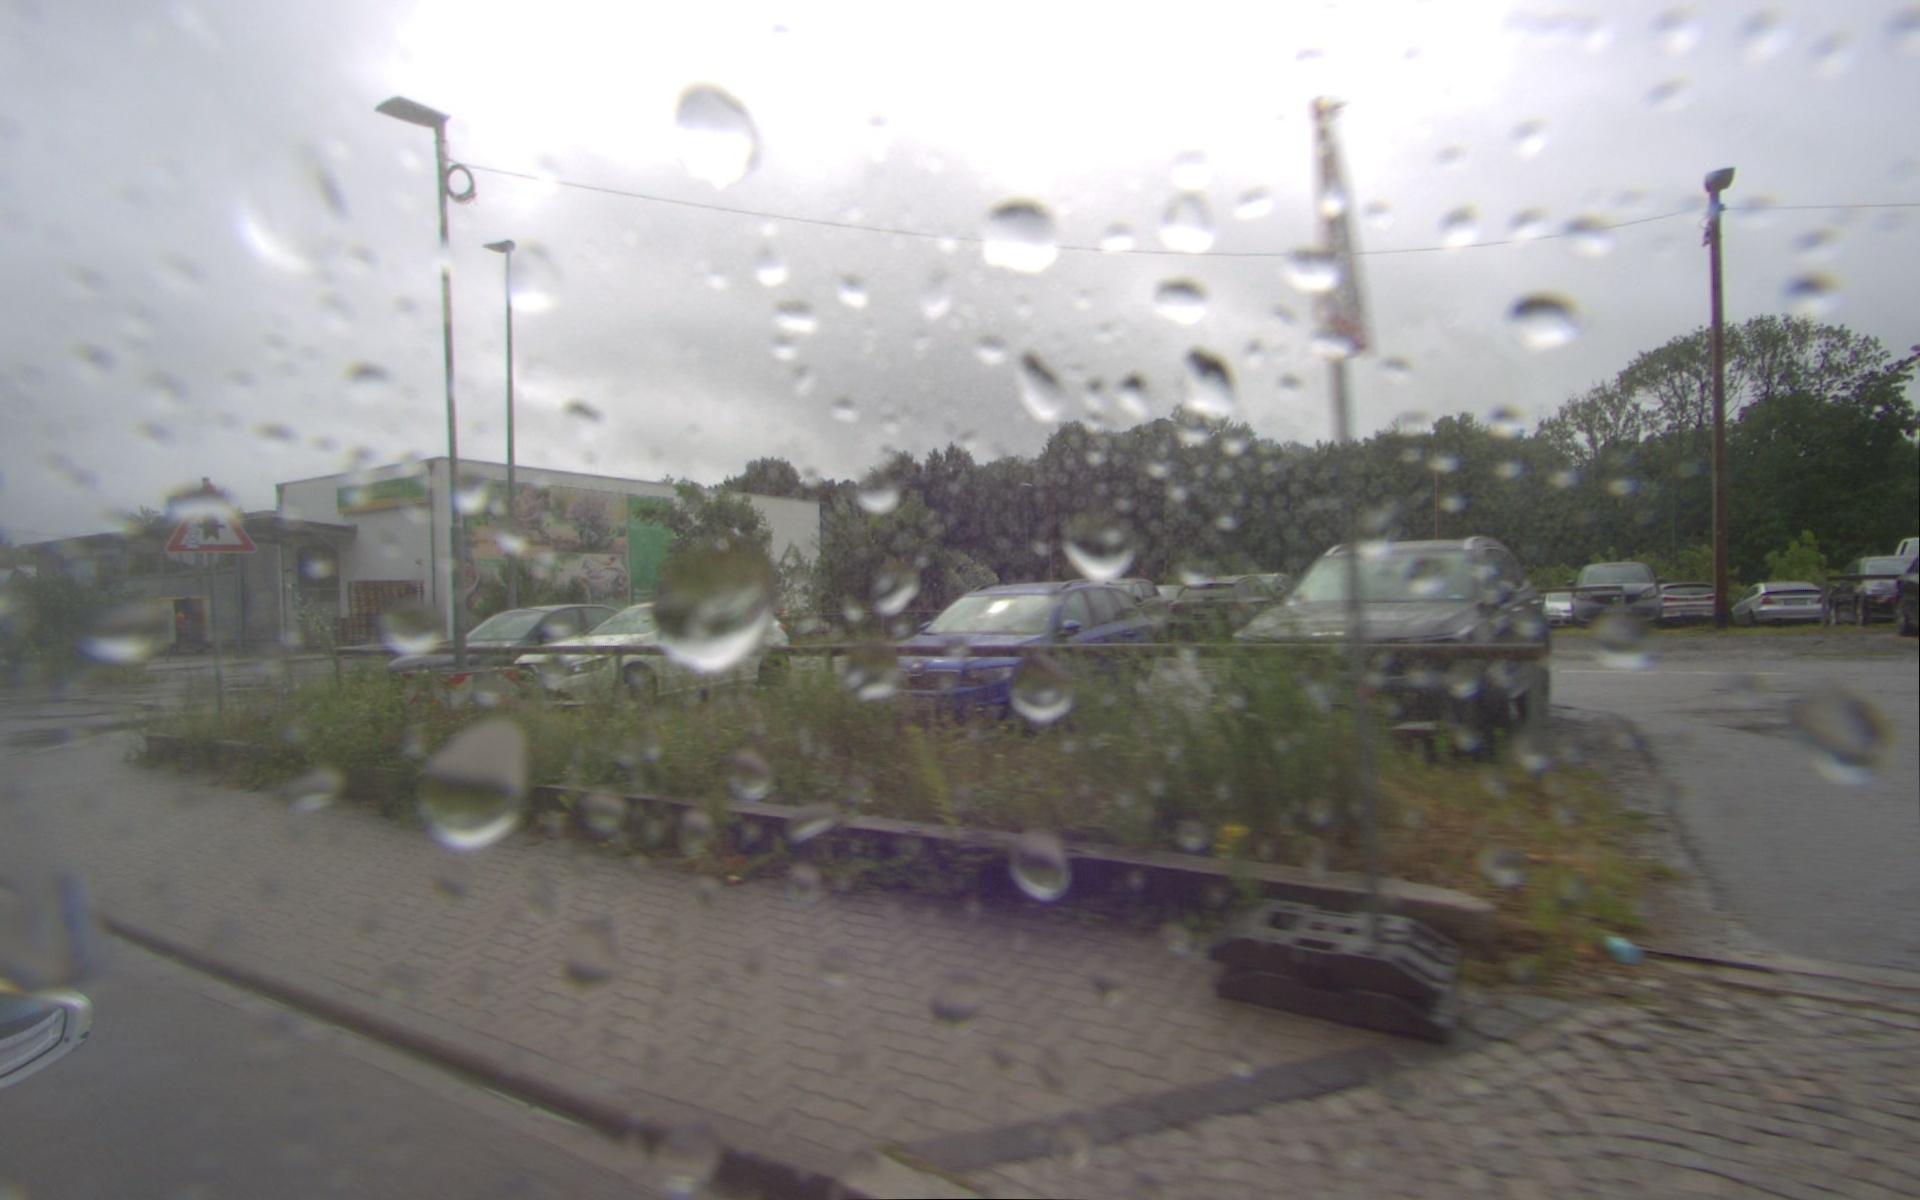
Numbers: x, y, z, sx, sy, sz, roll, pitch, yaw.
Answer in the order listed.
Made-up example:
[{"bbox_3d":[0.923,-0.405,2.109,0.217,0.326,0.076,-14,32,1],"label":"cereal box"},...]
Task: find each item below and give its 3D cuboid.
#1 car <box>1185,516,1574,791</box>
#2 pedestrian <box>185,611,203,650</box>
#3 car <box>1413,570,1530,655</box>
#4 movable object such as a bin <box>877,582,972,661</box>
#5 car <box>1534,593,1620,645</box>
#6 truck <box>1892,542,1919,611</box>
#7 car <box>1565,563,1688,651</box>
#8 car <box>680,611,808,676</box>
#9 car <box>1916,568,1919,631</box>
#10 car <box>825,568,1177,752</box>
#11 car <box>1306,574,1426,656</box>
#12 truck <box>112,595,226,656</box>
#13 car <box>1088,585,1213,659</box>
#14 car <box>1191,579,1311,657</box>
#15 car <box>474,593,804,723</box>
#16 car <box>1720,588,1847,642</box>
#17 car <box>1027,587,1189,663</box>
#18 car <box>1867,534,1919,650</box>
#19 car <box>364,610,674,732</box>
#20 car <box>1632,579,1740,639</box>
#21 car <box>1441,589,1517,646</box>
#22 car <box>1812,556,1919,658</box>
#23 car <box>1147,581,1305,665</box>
[{"bbox_3d":[3.978,0.347,8.915,2.101,1.757,4.664,-3,-1,36],"label":"car"},{"bbox_3d":[-35.120,1.399,45.905,0.427,1.741,0.453,-1,2,35],"label":"pedestrian"},{"bbox_3d":[11.852,0.225,23.035,2.015,1.626,4.430,-4,1,31],"label":"car"},{"bbox_3d":[-1.403,0.864,40.949,1.971,3.032,3.980,-1,-1,31],"label":"movable object such as a bin"},{"bbox_3d":[19.347,0.556,31.542,1.685,1.513,3.988,-2,0,23],"label":"car"},{"bbox_3d":[36.142,-0.917,34.872,5.012,2.434,2.067,-2,0,32],"label":"truck"},{"bbox_3d":[14.717,0.096,22.340,2.015,1.626,4.430,-4,1,31],"label":"car"},{"bbox_3d":[-6.892,1.345,32.328,1.805,1.947,3.980,-1,0,31],"label":"car"},{"bbox_3d":[27.615,-0.029,26.696,1.761,1.792,3.988,-2,0,23],"label":"car"},{"bbox_3d":[0.668,0.564,10.636,1.795,1.536,4.287,-3,-2,32],"label":"car"},{"bbox_3d":[10.174,0.311,24.889,2.015,1.694,4.430,-4,1,31],"label":"car"},{"bbox_3d":[-38.205,1.250,48.267,7.318,2.695,2.293,-2,1,36],"label":"truck"},{"bbox_3d":[5.343,0.552,27.567,2.014,1.694,4.433,-4,1,29],"label":"car"},{"bbox_3d":[7.746,0.416,26.356,2.014,1.694,4.433,-4,1,29],"label":"car"},{"bbox_3d":[-4.314,0.748,14.080,1.864,1.529,4.173,-3,-2,32],"label":"car"},{"bbox_3d":[23.719,0.397,29.018,1.761,1.418,3.988,-2,0,23],"label":"car"},{"bbox_3d":[3.299,0.536,21.709,1.973,1.427,3.978,-3,-2,33],"label":"car"},{"bbox_3d":[15.218,-0.170,14.367,1.988,1.738,4.618,-3,-2,26],"label":"car"},{"bbox_3d":[-6.646,1.016,15.637,1.860,1.419,4.215,-3,1,24],"label":"car"},{"bbox_3d":[21.786,0.260,30.215,1.761,1.658,3.988,-2,0,23],"label":"car"},{"bbox_3d":[17.202,0.543,33.357,1.866,1.750,3.988,-2,0,23],"label":"car"},{"bbox_3d":[18.086,0.045,19.103,2.015,1.626,4.691,-4,1,31],"label":"car"},{"bbox_3d":[5.584,0.476,20.694,1.973,1.504,3.978,-3,-2,33],"label":"car"}]
